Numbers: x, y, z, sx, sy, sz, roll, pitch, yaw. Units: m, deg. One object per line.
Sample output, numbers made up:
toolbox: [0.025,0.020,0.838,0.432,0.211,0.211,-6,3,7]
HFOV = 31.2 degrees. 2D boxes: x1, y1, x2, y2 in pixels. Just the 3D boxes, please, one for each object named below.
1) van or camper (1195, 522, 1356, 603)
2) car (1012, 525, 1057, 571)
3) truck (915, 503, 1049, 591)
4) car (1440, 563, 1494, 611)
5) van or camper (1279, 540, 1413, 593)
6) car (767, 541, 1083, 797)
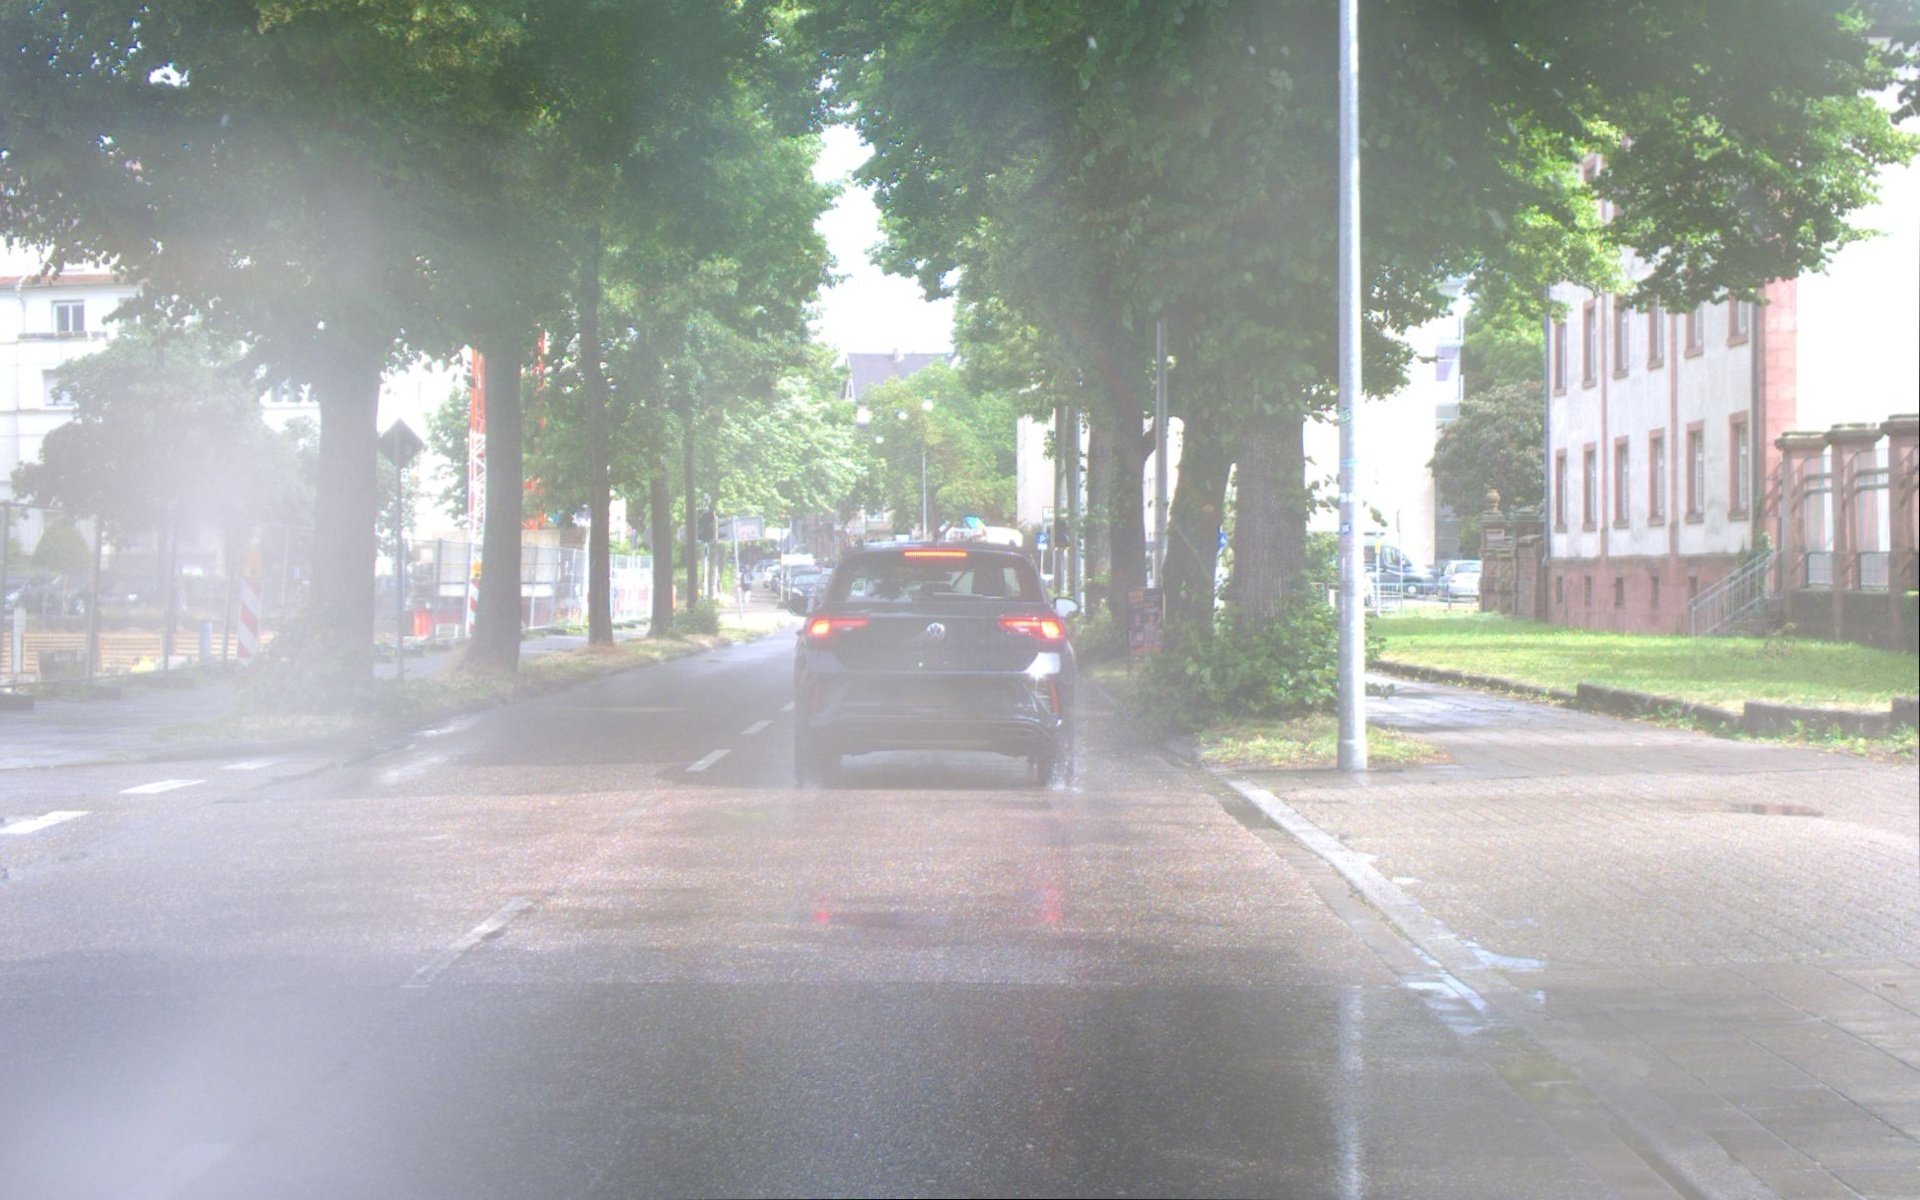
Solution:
van or camper: [10.330,-1.227,112.901,5.032,2.587,2.168,0,0,-1]
car: [3.452,-2.379,158.629,1.993,2.007,4.000,0,-1,2]
truck: [0.628,-1.727,109.769,2.804,2.647,8.243,1,1,-10]
car: [18.628,-0.485,126.335,1.743,1.678,3.869,-3,0,6]
van or camper: [14.616,-1.268,130.353,4.875,1.919,2.131,1,1,1]
car: [-0.220,0.398,22.758,1.895,1.517,4.000,1,1,0]
